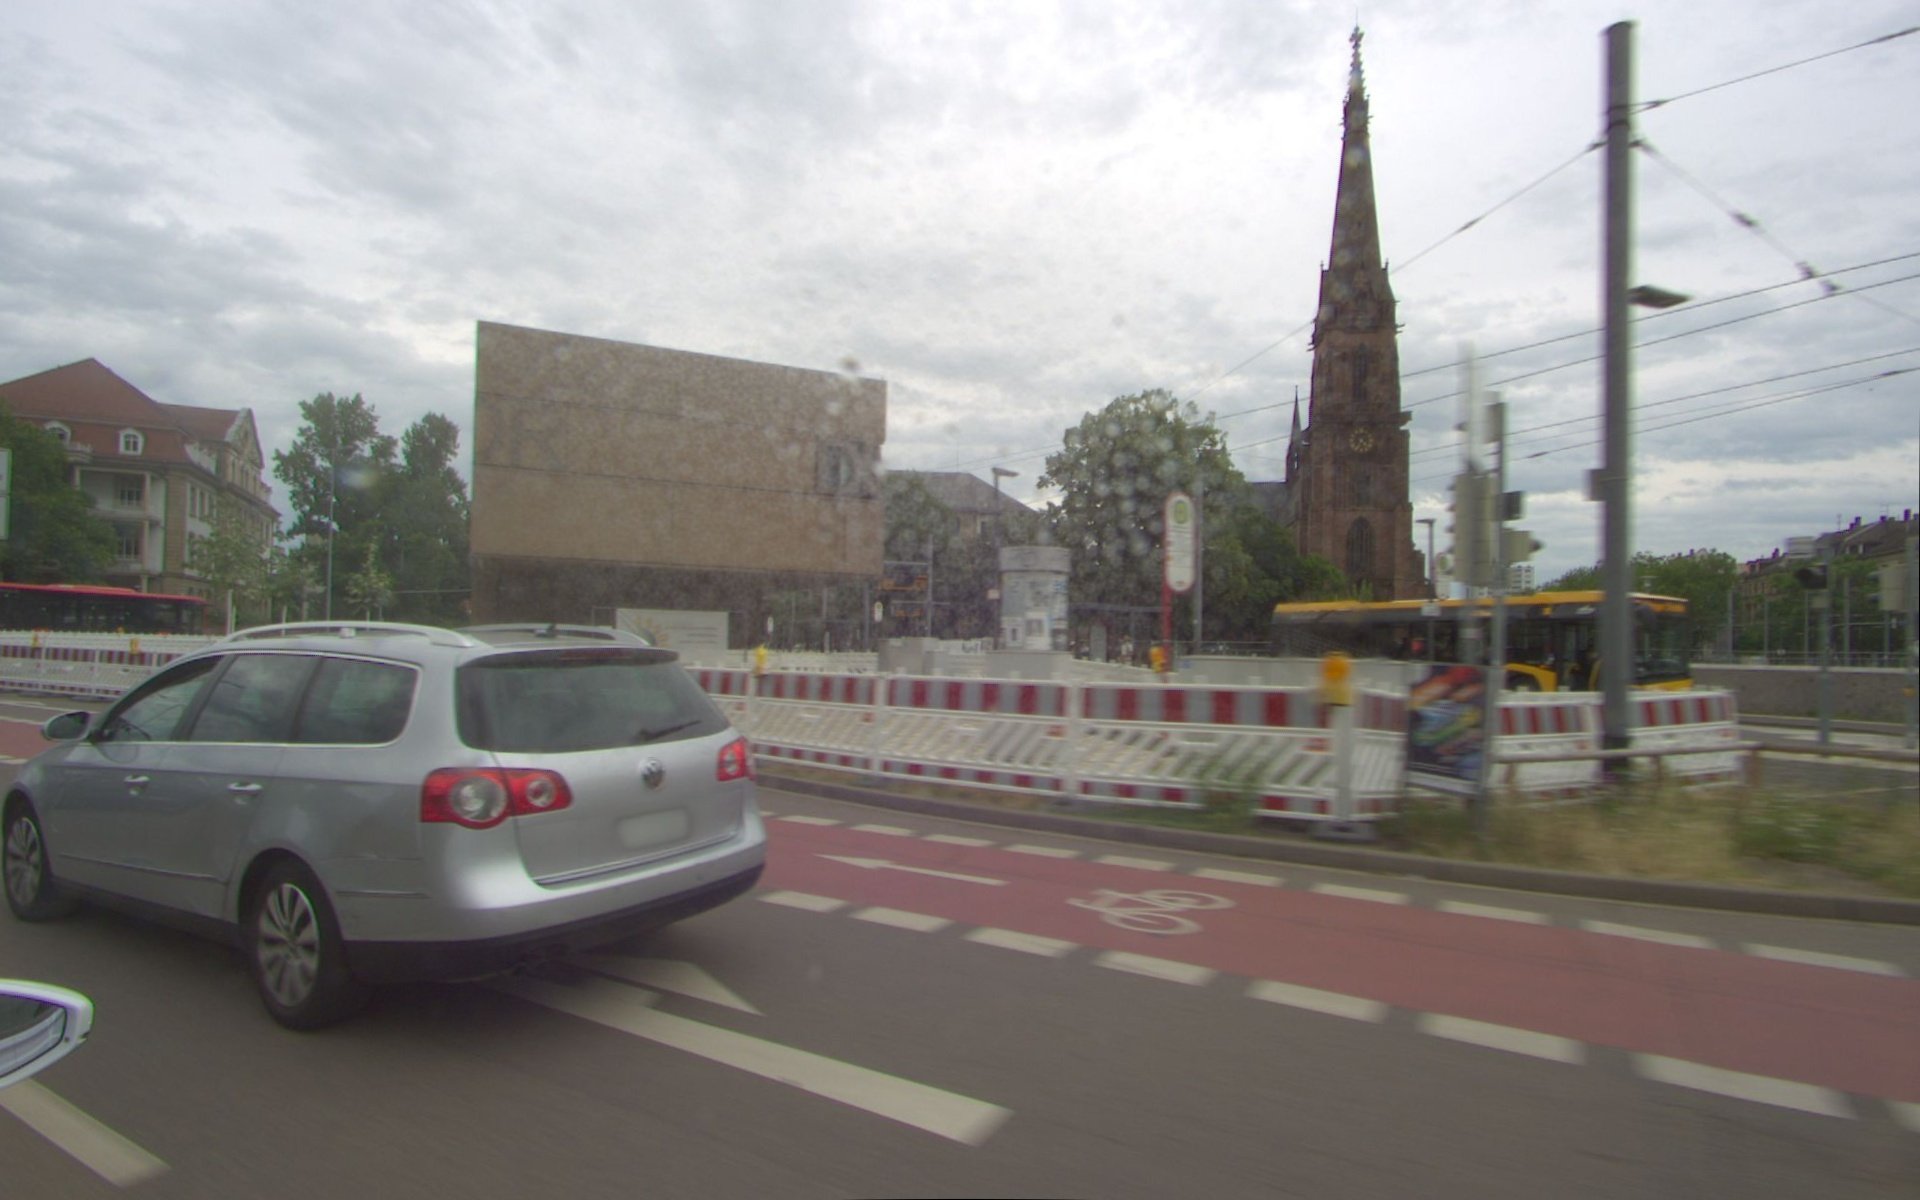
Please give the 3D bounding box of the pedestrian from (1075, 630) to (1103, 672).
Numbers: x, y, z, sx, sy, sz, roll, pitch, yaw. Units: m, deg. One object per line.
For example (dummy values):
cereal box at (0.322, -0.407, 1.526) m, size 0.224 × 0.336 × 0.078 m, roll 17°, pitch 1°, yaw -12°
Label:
pedestrian at (5.301, 2.095, 41.093) m, size 0.772 × 1.666 × 0.918 m, roll 2°, pitch -1°, yaw -20°

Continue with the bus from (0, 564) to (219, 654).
bus at (-37.274, 0.493, 42.095) m, size 3.008 × 3.339 × 12.386 m, roll 1°, pitch -2°, yaw 0°

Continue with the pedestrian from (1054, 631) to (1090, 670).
pedestrian at (4.215, 1.899, 37.753) m, size 1.004 × 1.420 × 1.005 m, roll 2°, pitch -1°, yaw -20°

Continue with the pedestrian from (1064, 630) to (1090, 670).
pedestrian at (4.954, 2.120, 42.512) m, size 0.780 × 1.666 × 0.799 m, roll 2°, pitch -1°, yaw -21°

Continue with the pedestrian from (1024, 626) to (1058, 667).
pedestrian at (3.215, 1.853, 39.875) m, size 1.004 × 1.596 × 1.005 m, roll 2°, pitch -1°, yaw -22°

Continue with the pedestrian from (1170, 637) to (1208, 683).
pedestrian at (8.568, 2.224, 37.459) m, size 0.991 × 1.666 × 1.018 m, roll 2°, pitch -1°, yaw -21°

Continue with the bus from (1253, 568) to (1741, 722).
bus at (13.768, 1.177, 28.064) m, size 2.978 × 3.309 × 13.000 m, roll 2°, pitch -2°, yaw -24°

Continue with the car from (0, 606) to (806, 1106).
car at (-3.094, 0.809, 4.989) m, size 4.560 × 1.501 × 1.718 m, roll 0°, pitch -1°, yaw 31°

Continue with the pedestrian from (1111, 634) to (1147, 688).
pedestrian at (5.845, 2.101, 34.663) m, size 0.812 × 1.831 × 1.018 m, roll 2°, pitch -1°, yaw -20°

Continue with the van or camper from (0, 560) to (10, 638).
van or camper at (-43.467, -0.165, 40.426) m, size 2.821 × 3.374 × 7.153 m, roll 0°, pitch -2°, yaw 9°
